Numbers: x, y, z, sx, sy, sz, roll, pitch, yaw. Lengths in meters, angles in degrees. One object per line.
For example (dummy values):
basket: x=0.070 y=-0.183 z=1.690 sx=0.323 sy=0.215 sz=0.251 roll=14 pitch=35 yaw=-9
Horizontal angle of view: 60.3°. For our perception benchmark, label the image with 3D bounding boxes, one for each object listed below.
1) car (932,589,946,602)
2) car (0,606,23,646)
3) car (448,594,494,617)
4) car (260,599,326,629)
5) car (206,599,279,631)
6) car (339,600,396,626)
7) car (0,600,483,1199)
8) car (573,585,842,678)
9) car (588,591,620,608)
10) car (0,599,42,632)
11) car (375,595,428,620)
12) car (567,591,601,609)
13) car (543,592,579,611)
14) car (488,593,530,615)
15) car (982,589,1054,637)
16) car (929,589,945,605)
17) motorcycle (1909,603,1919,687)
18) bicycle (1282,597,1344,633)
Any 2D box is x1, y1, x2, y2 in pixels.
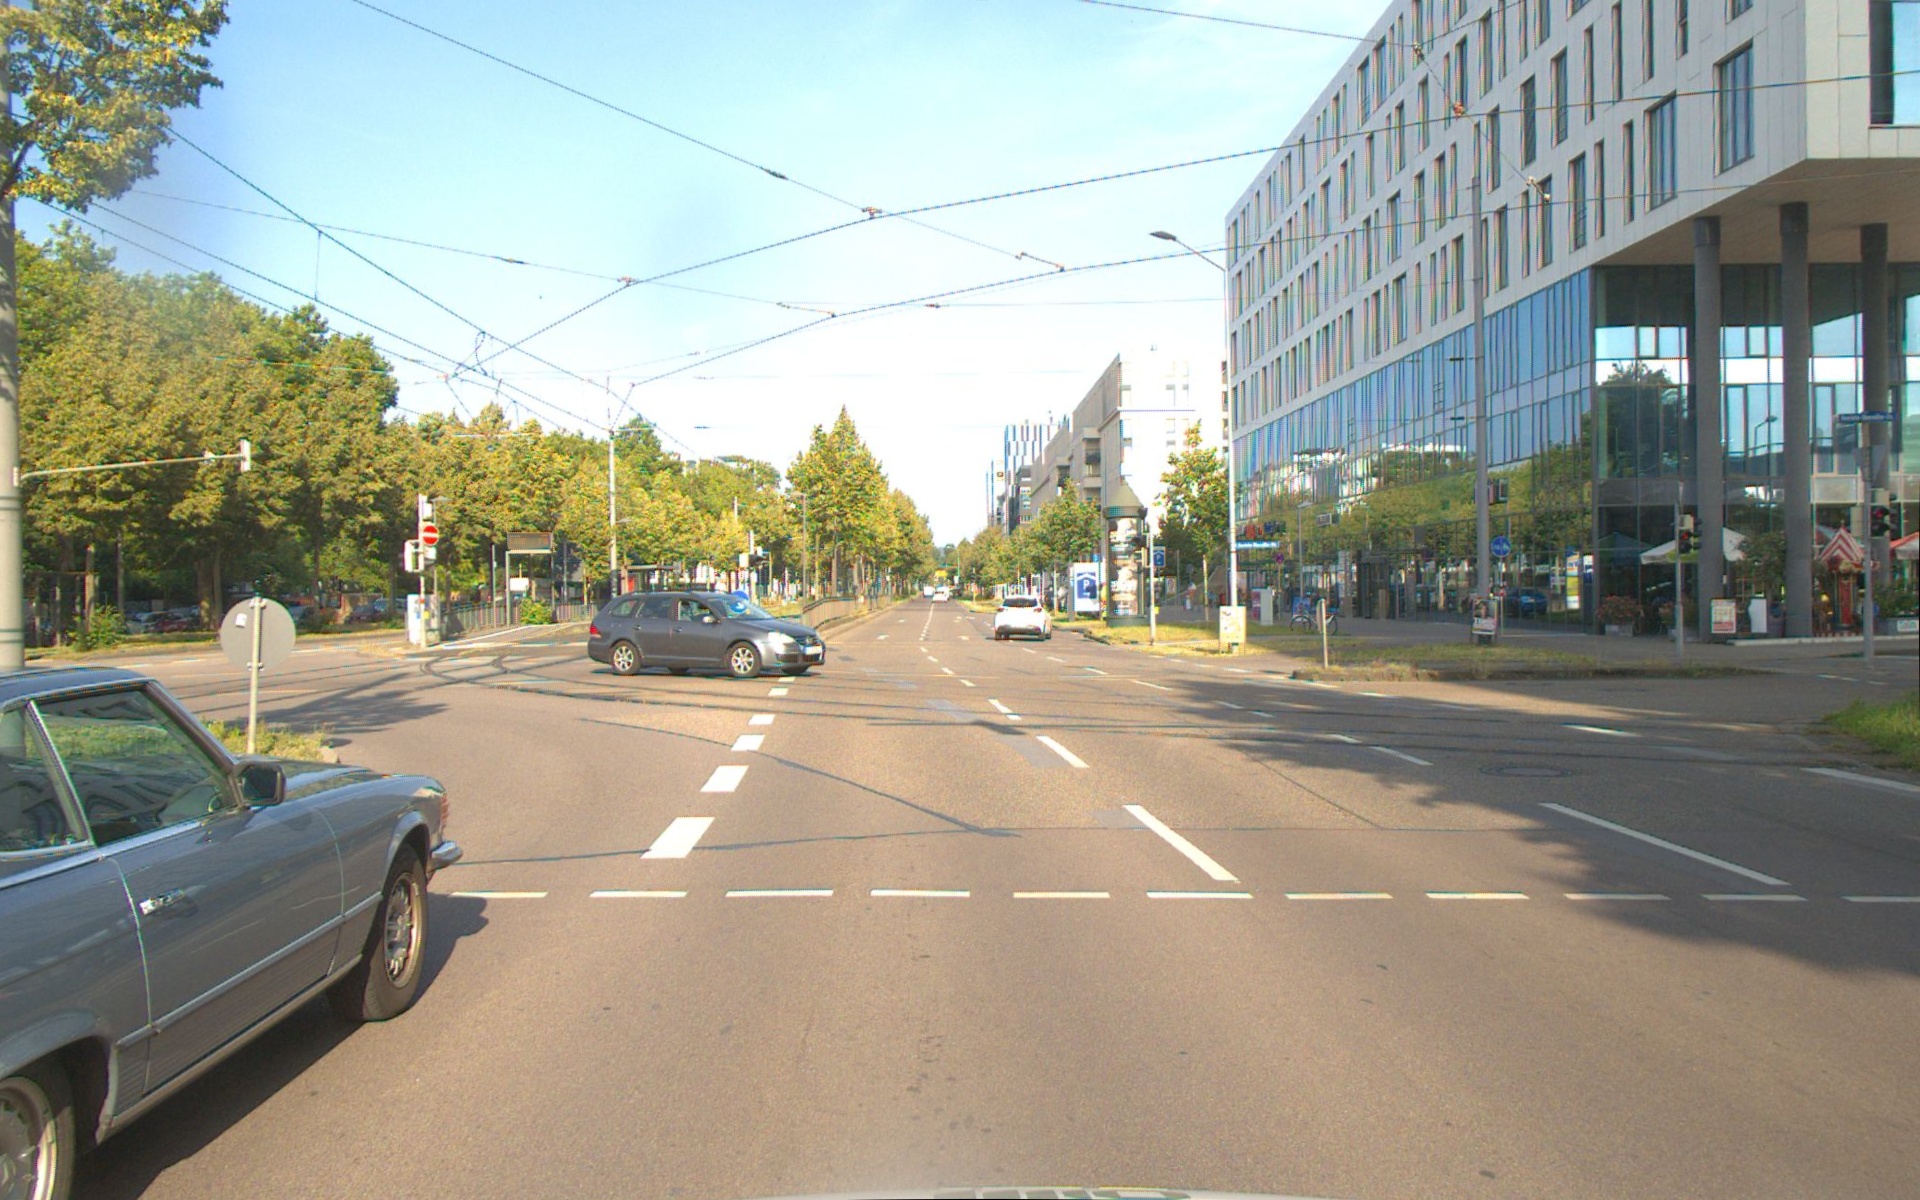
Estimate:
car: x=-2.796 y=-0.615 z=224.815 sx=1.826 sy=1.713 sz=4.000 roll=1 pitch=1 yaw=0
car: x=-39.335 y=1.061 z=65.587 sx=1.841 sy=1.586 sz=4.002 roll=-1 pitch=0 yaw=4
car: x=-35.627 y=0.404 z=120.623 sx=1.841 sy=1.586 sz=4.002 roll=-1 pitch=0 yaw=4
car: x=-37.713 y=0.785 z=93.577 sx=1.841 sy=1.586 sz=4.002 roll=-1 pitch=0 yaw=4
car: x=-38.132 y=0.770 z=87.998 sx=1.841 sy=1.586 sz=4.002 roll=-1 pitch=0 yaw=4
car: x=-36.887 y=0.797 z=103.043 sx=1.841 sy=1.586 sz=4.002 roll=-1 pitch=0 yaw=4
car: x=-2.667 y=0.717 z=4.215 sx=1.728 sy=1.353 sz=4.399 roll=1 pitch=1 yaw=-2
car: x=-4.445 y=0.559 z=28.984 sx=4.471 sy=1.487 sz=1.732 roll=-2 pitch=0 yaw=28
car: x=-33.420 y=-0.073 z=155.425 sx=1.841 sy=1.586 sz=4.002 roll=-1 pitch=0 yaw=4
car: x=-46.665 y=0.768 z=80.219 sx=1.841 sy=1.586 sz=4.002 roll=-1 pitch=0 yaw=4
car: x=-36.457 y=0.474 z=108.129 sx=1.841 sy=1.586 sz=4.002 roll=-1 pitch=0 yaw=4
car: x=-33.862 y=0.009 z=148.994 sx=1.841 sy=1.586 sz=4.002 roll=-1 pitch=0 yaw=4
car: x=-34.473 y=0.085 z=142.862 sx=1.841 sy=1.586 sz=4.002 roll=-1 pitch=0 yaw=4
car: x=-35.044 y=0.301 z=128.554 sx=1.841 sy=1.586 sz=4.002 roll=-1 pitch=0 yaw=4
car: x=1.992 y=0.445 z=55.762 sx=1.951 sy=1.530 sz=4.096 roll=-1 pitch=0 yaw=9
car: x=-2.653 y=-0.352 z=194.593 sx=1.826 sy=1.713 sz=4.000 roll=1 pitch=1 yaw=0
motorcycle: x=15.831 y=0.696 z=24.983 sx=2.488 sy=1.285 sz=0.821 roll=0 pitch=0 yaw=2
bicycle: x=11.338 y=0.466 z=53.124 sx=0.768 sy=1.050 sz=1.848 roll=-1 pitch=3 yaw=-44
